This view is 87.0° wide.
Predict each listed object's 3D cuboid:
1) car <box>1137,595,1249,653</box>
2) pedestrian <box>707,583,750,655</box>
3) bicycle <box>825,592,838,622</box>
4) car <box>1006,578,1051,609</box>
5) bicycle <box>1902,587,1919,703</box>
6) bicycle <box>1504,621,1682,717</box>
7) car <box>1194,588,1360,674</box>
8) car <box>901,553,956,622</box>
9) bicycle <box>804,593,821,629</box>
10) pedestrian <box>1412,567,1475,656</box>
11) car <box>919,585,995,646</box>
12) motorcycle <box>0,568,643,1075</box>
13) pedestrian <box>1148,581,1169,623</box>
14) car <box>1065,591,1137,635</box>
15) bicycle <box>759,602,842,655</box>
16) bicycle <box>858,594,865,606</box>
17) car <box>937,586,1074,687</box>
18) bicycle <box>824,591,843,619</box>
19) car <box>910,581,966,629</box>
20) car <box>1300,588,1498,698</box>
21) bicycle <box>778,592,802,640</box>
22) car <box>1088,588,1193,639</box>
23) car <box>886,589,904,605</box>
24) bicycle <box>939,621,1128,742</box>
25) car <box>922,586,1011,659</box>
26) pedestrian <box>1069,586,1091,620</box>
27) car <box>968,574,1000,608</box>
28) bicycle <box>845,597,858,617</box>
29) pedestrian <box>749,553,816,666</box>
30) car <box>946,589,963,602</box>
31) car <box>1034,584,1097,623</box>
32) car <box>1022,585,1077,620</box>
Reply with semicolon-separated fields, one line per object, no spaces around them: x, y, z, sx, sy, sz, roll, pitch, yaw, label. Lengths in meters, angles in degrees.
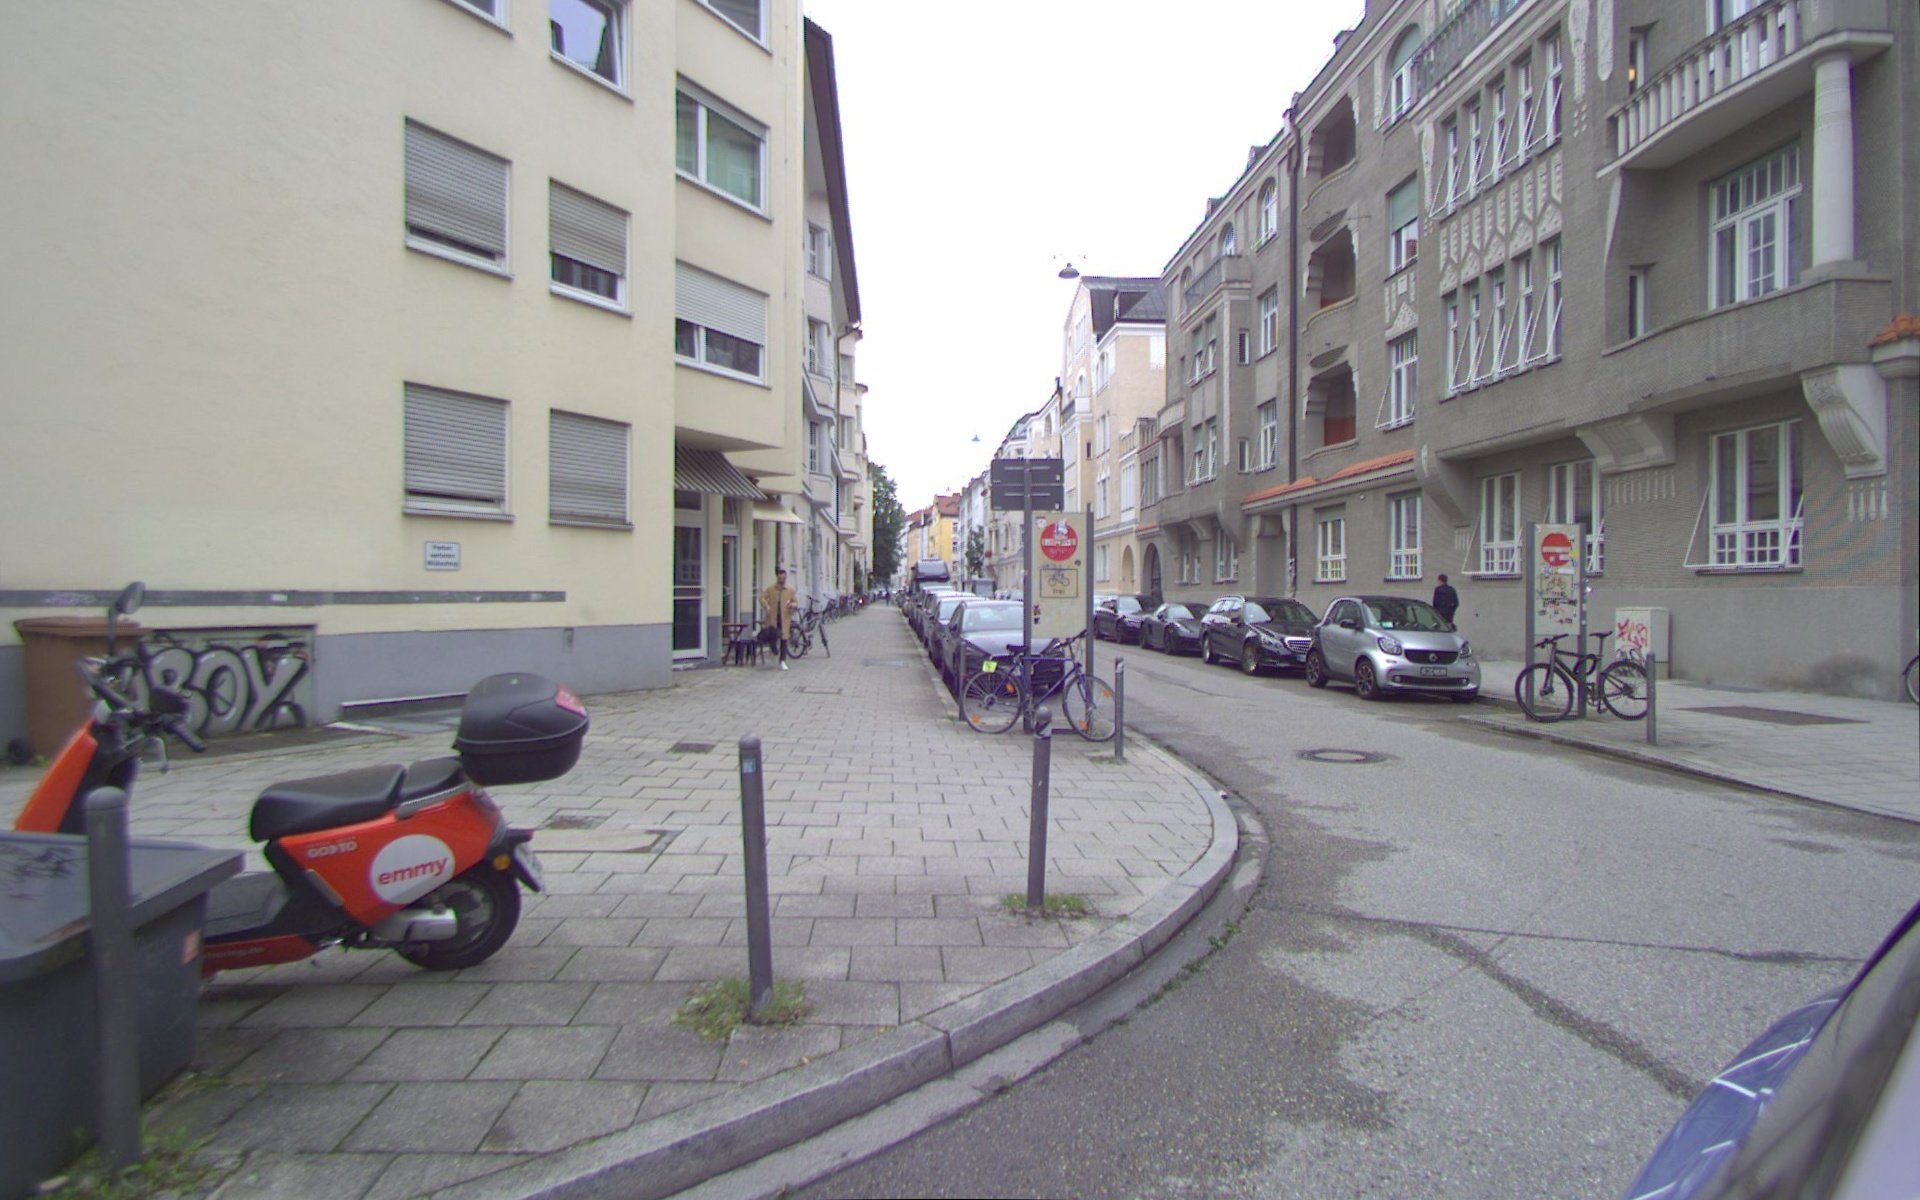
5.883;0.558;26.049;1.726;1.348;4.099;0;1;-3;car
-4.600;0.366;20.107;0.528;1.416;0.666;0;0;29;pedestrian
-5.281;0.265;41.578;0.473;1.165;1.790;2;0;-6;bicycle
3.795;-0.373;56.950;1.919;1.679;4.621;-1;1;-4;car
11.665;0.533;11.287;0.608;1.366;1.678;-1;0;-8;bicycle
7.365;0.787;11.804;1.772;1.028;0.541;-1;0;-5;bicycle
6.244;0.532;20.526;1.727;1.534;4.710;0;1;-2;car
-1.569;-0.636;47.626;2.217;2.996;6.139;-1;2;-4;car
-4.873;0.352;33.530;0.473;1.165;1.790;-1;1;-6;bicycle
10.006;0.226;20.965;0.825;1.810;0.936;-1;0;-1;pedestrian
-0.160;0.376;28.352;1.606;1.556;3.861;-1;1;-8;car
-2.199;0.588;3.410;2.042;1.373;0.818;-1;0;-27;motorcycle
8.710;0.076;44.394;0.704;1.840;0.731;-1;0;-5;pedestrian
5.069;0.420;36.849;1.776;1.449;4.441;1;0;-3;car
-3.318;0.579;21.183;0.747;1.045;1.779;2;0;31;bicycle
-7.695;-0.006;79.109;0.530;0.970;1.820;-1;1;-6;bicycle
0.639;0.514;17.443;1.664;1.490;4.616;-1;1;-6;car
-5.462;0.217;43.845;0.474;1.165;1.786;-1;1;5;bicycle
-0.933;0.163;39.791;1.961;1.710;4.677;-1;1;-3;car
6.743;0.594;15.863;1.676;1.534;2.913;1;0;-3;car
-4.489;0.410;26.744;0.553;1.208;1.680;2;0;-9;bicycle
5.479;0.366;31.361;1.960;1.466;4.784;0;1;-5;car
-6.351;-0.310;98.666;1.651;1.460;3.648;-1;1;-4;car
0.740;0.782;10.235;1.777;1.099;0.660;1;-1;24;bicycle
0.069;0.444;23.122;1.606;1.490;3.860;-1;1;-6;car
6.299;0.143;53.022;0.976;1.750;0.940;-1;0;-4;pedestrian
1.916;-0.734;81.682;2.064;2.654;5.682;1;1;-3;car
-6.107;0.387;57.179;0.630;1.131;1.969;-1;1;-3;bicycle
-3.080;0.174;17.495;0.727;1.871;1.017;4;-2;-32;pedestrian
-0.691;-0.499;117.128;1.651;1.416;3.709;-1;1;-5;car
4.340;0.120;42.330;1.806;1.532;4.613;0;1;-5;car
4.245;0.094;48.513;1.772;1.592;3.819;-1;1;-8;car
